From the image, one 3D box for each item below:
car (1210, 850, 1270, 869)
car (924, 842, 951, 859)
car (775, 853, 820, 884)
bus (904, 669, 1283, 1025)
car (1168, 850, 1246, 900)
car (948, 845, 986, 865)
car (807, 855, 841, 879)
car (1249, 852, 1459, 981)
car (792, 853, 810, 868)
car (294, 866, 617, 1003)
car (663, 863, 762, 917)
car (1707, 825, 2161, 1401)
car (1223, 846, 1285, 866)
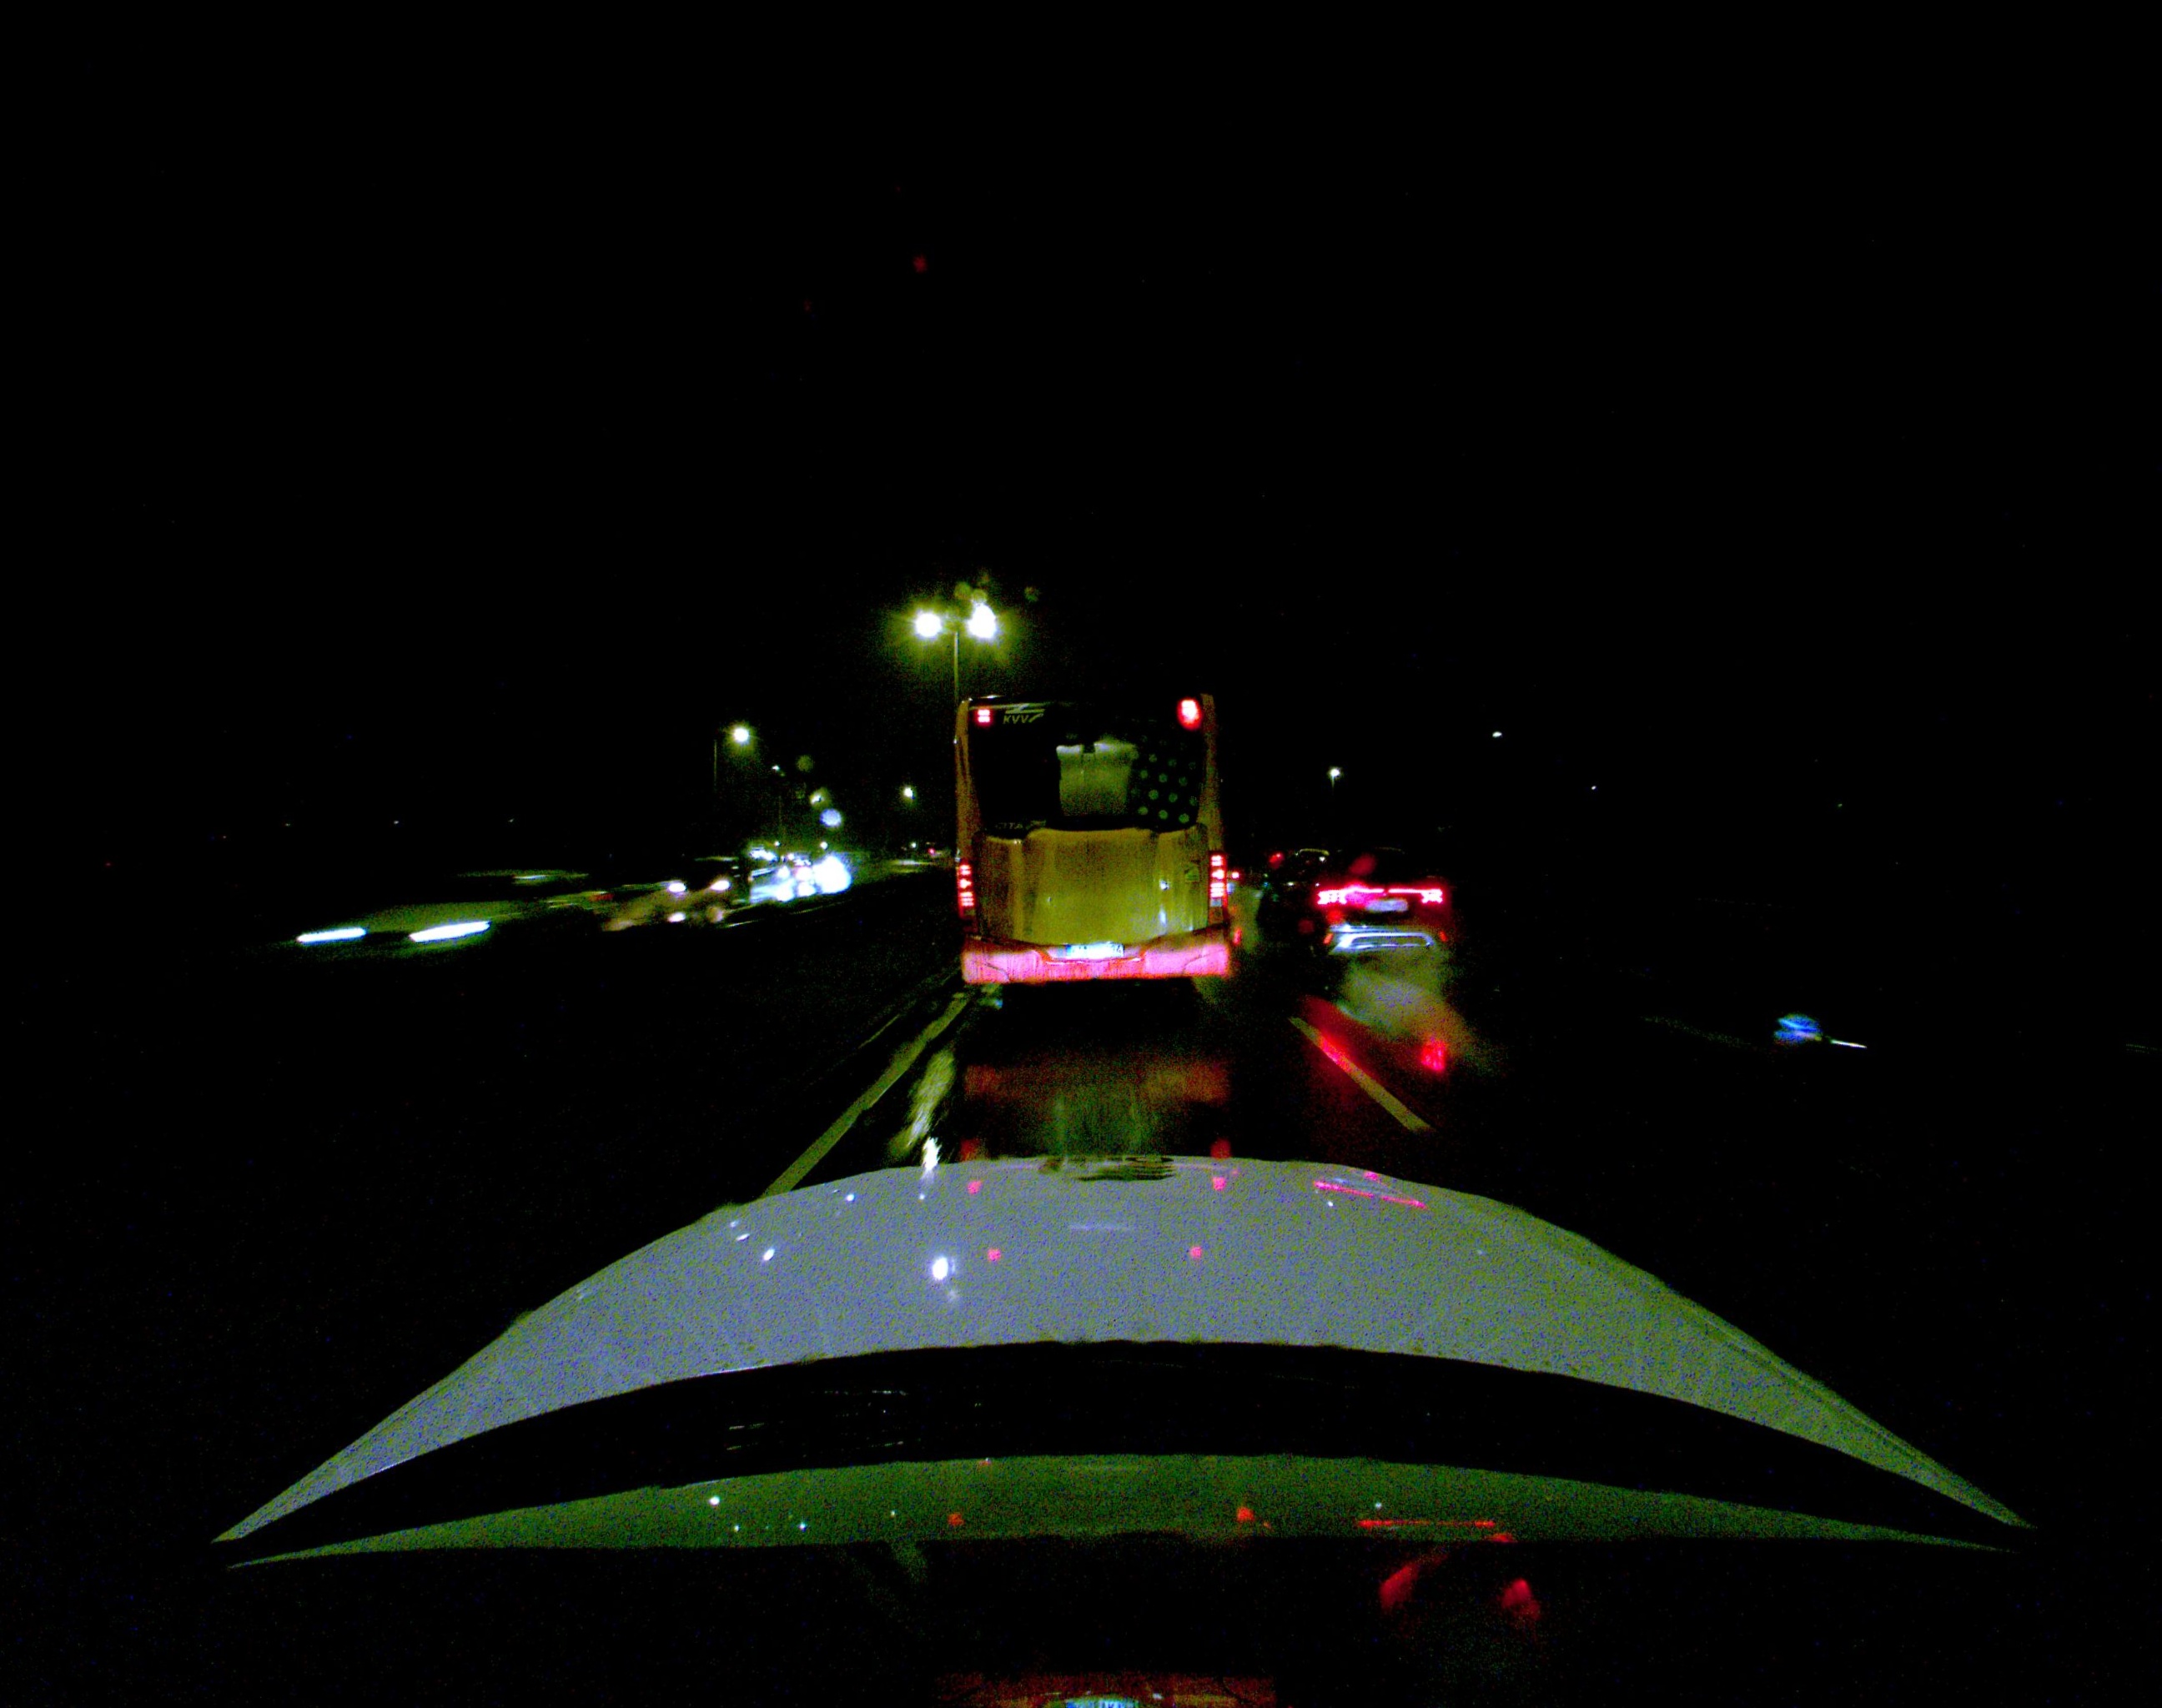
[{"bbox_3d":[11.747,0.367,60.128,4.036,1.345,1.744,0,1,-6],"label":"car"},{"bbox_3d":[-14.760,-0.349,83.752,2.001,1.721,3.972,0,-1,-21],"label":"car"},{"bbox_3d":[-15.706,0.796,45.312,1.850,1.571,3.493,-1,1,-12],"label":"car"},{"bbox_3d":[-0.041,-0.160,11.962,3.277,3.050,9.536,-2,1,-2],"label":"bus"},{"bbox_3d":[3.722,0.581,24.632,1.681,1.330,3.959,1,1,-1],"label":"car"},{"bbox_3d":[-9.858,0.071,70.022,2.101,1.643,3.696,0,-1,-28],"label":"car"},{"bbox_3d":[-18.344,0.927,58.313,1.775,1.593,4.542,-2,0,-11],"label":"car"},{"bbox_3d":[3.645,0.762,11.648,1.672,1.521,3.959,0,-1,0],"label":"car"},{"bbox_3d":[-29.745,0.692,86.583,1.746,1.502,3.975,-1,-1,-18],"label":"car"},{"bbox_3d":[-8.803,1.013,12.038,1.868,1.608,4.237,-1,-1,-7],"label":"car"},{"bbox_3d":[-12.548,1.158,28.023,1.763,1.631,4.242,-1,0,-6],"label":"car"},{"bbox_3d":[3.647,0.684,1.484,1.666,1.506,4.562,1,-1,2],"label":"car"},{"bbox_3d":[13.659,0.169,64.429,4.476,1.519,1.854,0,1,-6],"label":"car"}]
